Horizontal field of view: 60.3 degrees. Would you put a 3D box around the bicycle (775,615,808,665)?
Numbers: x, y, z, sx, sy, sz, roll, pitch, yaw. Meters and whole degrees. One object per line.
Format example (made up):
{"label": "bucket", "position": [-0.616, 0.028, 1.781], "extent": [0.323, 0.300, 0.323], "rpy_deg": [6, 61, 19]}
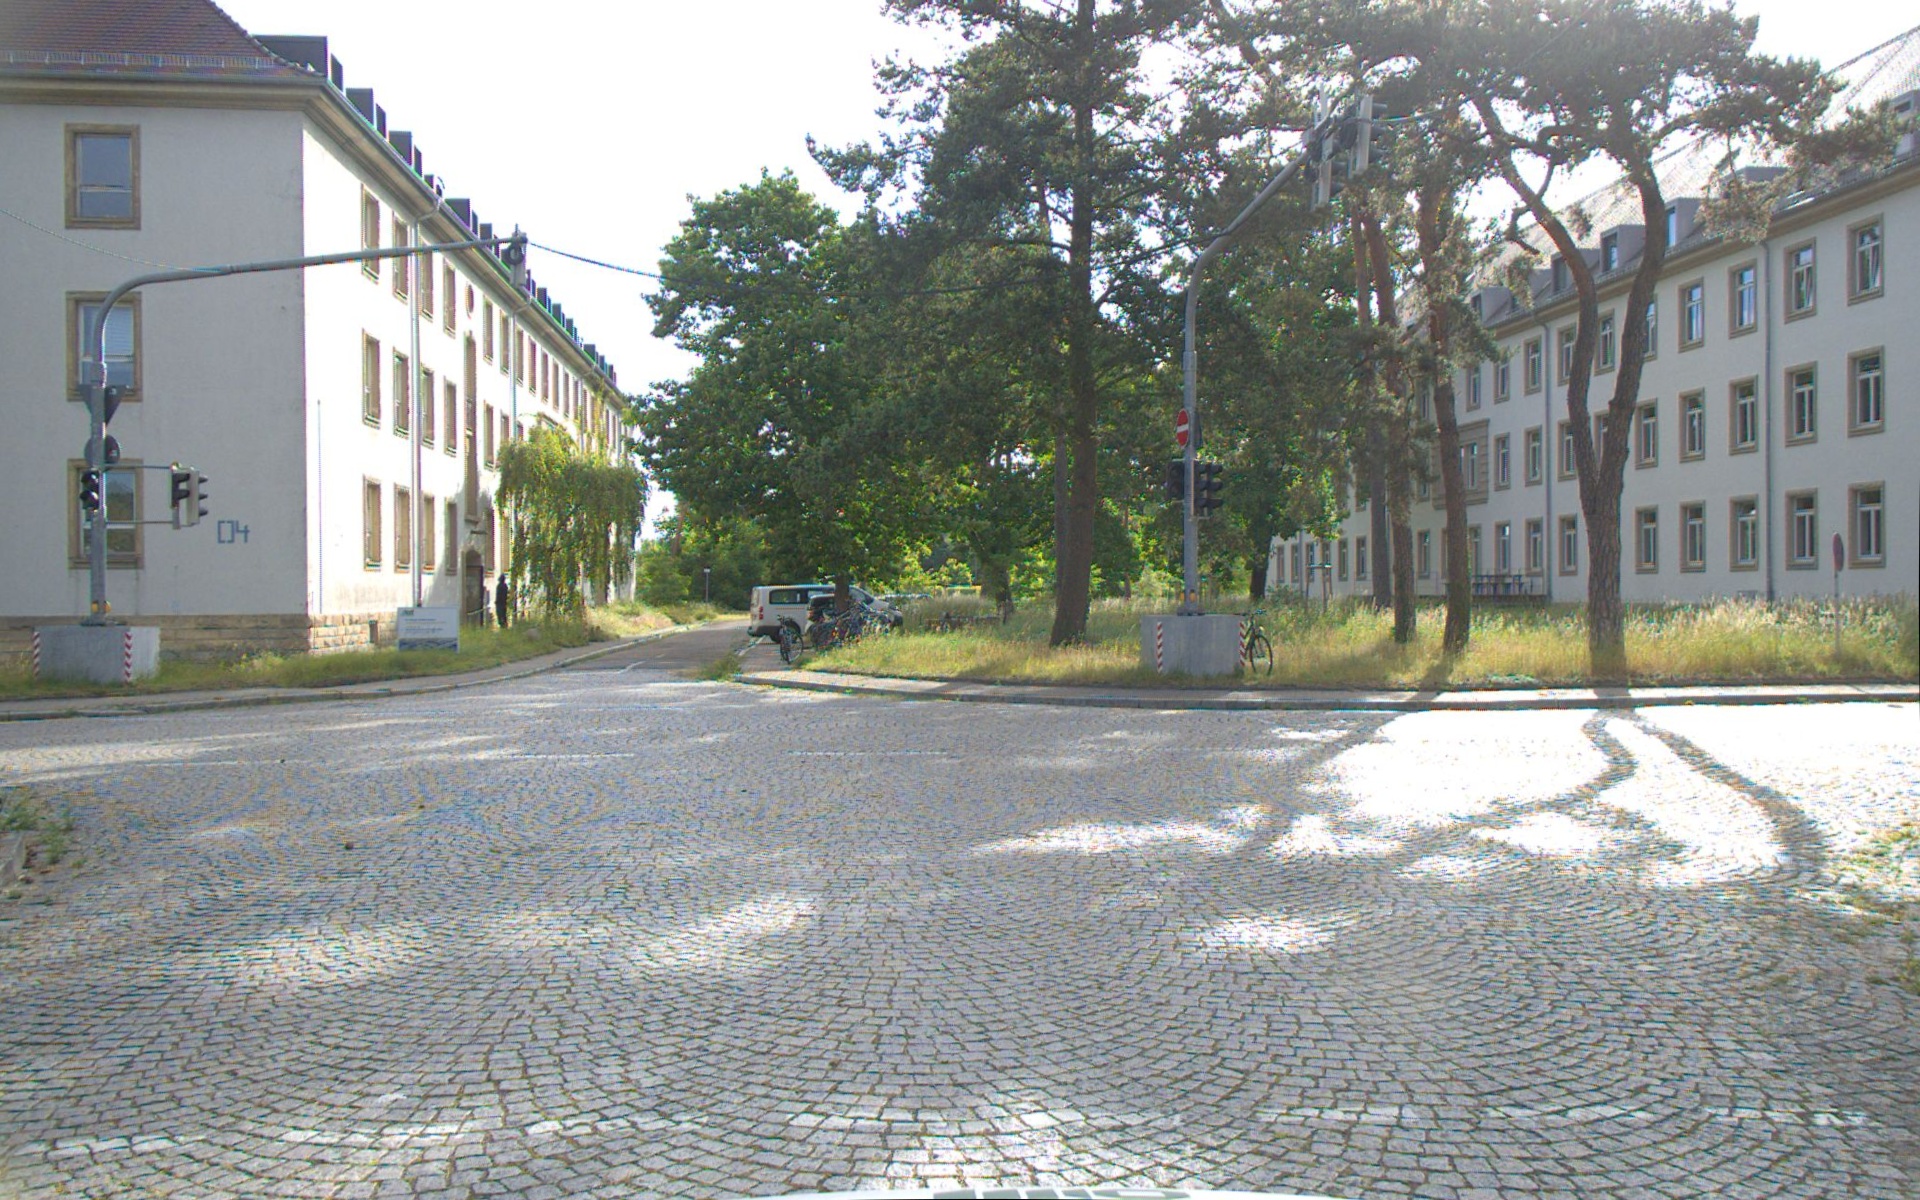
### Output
{"label": "bicycle", "position": [-3.727, 0.879, 36.630], "extent": [0.714, 1.016, 1.797], "rpy_deg": [-1, 1, -5]}

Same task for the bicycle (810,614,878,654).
{"label": "bicycle", "position": [-3.067, 0.891, 43.576], "extent": [1.758, 1.016, 0.643], "rpy_deg": [-1, 1, -7]}

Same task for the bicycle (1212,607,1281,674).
{"label": "bicycle", "position": [4.631, 0.643, 26.866], "extent": [0.552, 1.016, 1.748], "rpy_deg": [-1, 1, -10]}

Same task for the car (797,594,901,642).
{"label": "car", "position": [-3.549, 0.574, 52.675], "extent": [2.985, 1.491, 1.711], "rpy_deg": [0, -1, -18]}

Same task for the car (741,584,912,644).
{"label": "car", "position": [-4.540, 0.474, 56.154], "extent": [5.419, 1.949, 2.241], "rpy_deg": [0, -1, -20]}

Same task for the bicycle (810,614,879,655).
{"label": "bicycle", "position": [-3.003, 0.887, 42.841], "extent": [1.758, 1.016, 0.643], "rpy_deg": [-1, 1, -7]}

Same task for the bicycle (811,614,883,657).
{"label": "bicycle", "position": [-2.827, 0.876, 41.352], "extent": [1.758, 1.016, 0.643], "rpy_deg": [-1, 1, -7]}

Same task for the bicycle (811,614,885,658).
{"label": "bicycle", "position": [-2.728, 0.867, 40.338], "extent": [1.758, 1.016, 0.643], "rpy_deg": [-1, 1, -7]}

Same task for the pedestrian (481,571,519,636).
{"label": "pedestrian", "position": [-14.331, 0.103, 51.550], "extent": [0.966, 1.998, 0.931], "rpy_deg": [0, -1, -6]}
